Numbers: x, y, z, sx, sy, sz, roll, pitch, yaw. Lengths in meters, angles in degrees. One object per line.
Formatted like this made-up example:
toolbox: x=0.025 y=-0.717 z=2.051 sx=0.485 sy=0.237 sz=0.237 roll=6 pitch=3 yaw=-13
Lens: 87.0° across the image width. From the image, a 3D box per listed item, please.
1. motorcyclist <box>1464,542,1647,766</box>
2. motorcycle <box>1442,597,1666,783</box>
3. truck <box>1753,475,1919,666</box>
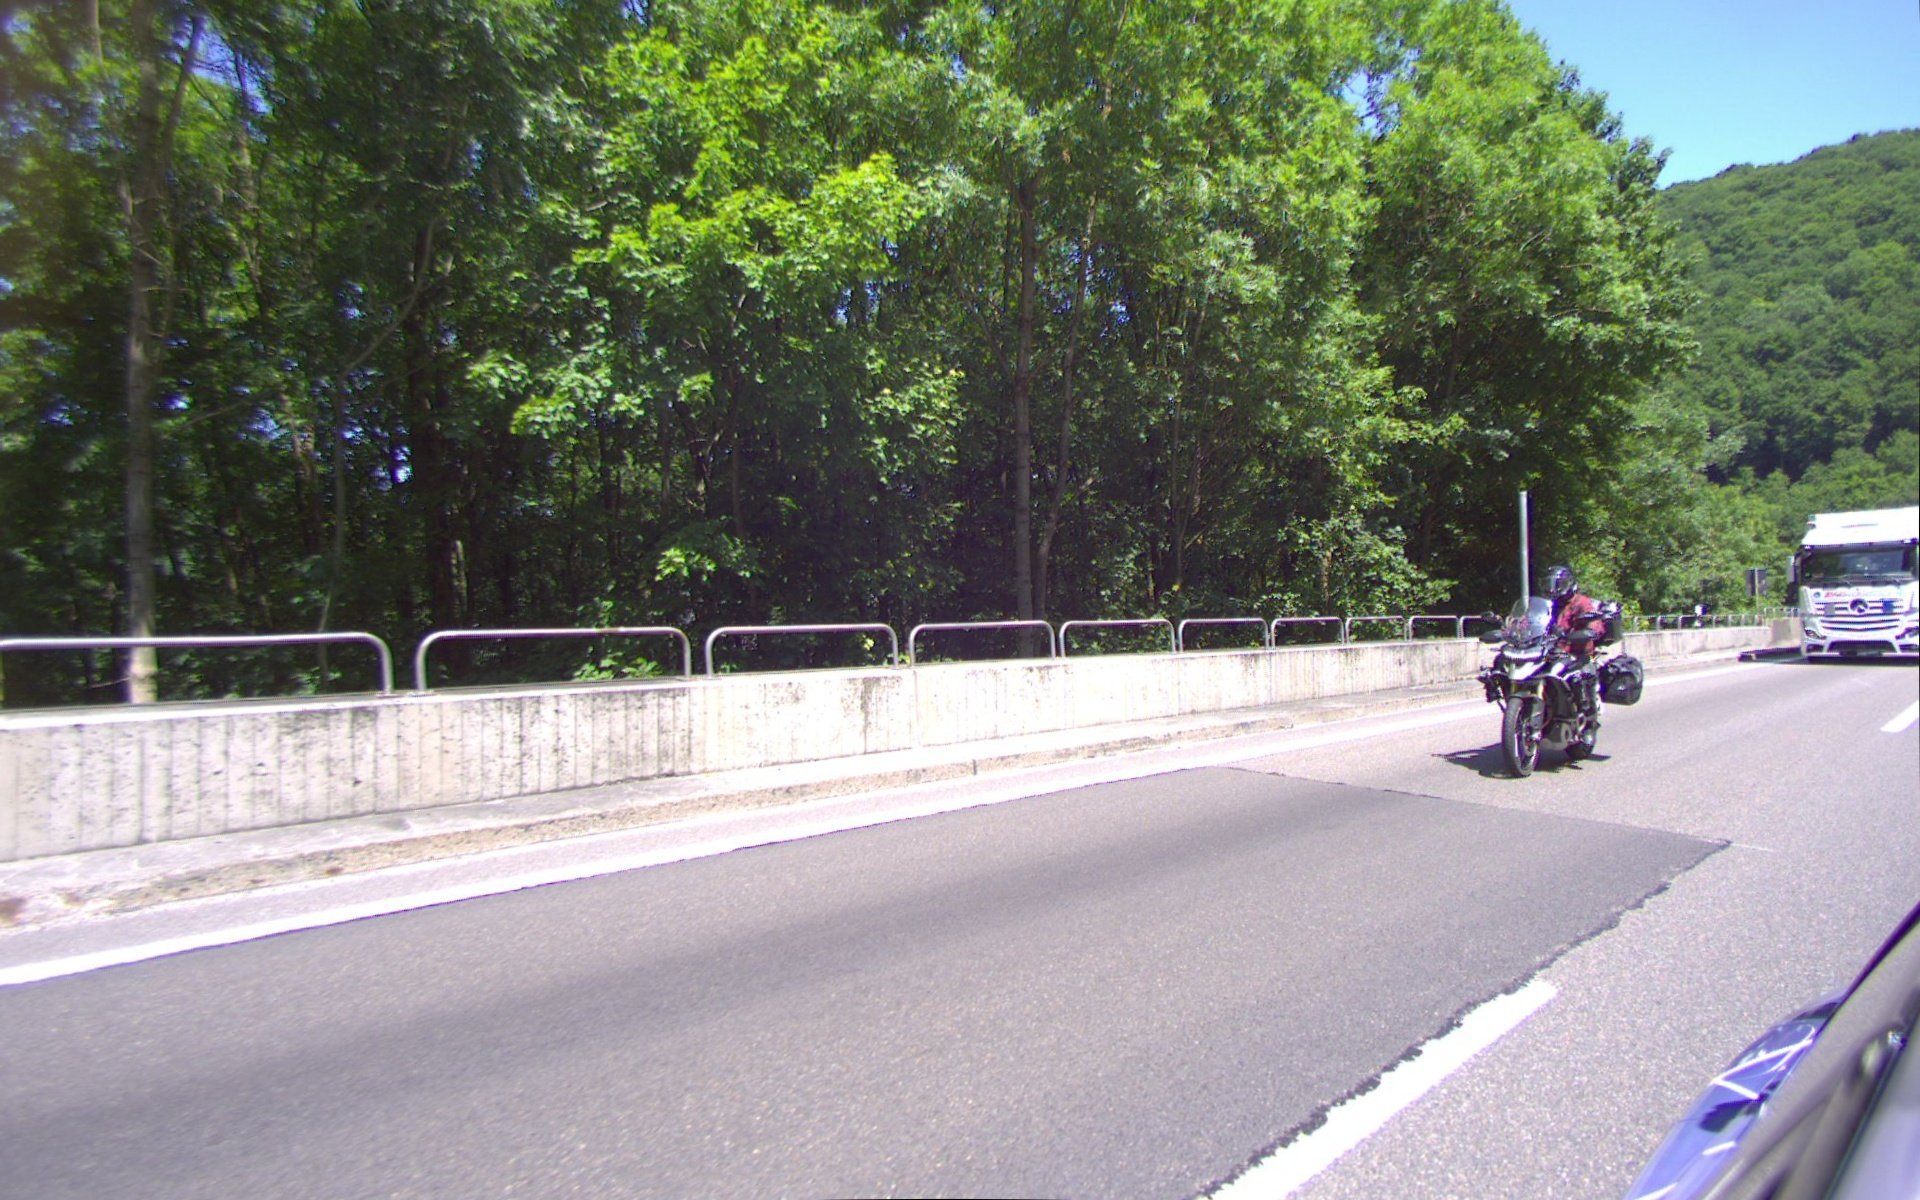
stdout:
motorcyclist: x=5.335 y=0.439 z=9.063 sx=1.315 sy=1.823 sz=1.062 roll=0 pitch=-1 yaw=-42
motorcycle: x=5.374 y=0.693 z=9.065 sx=2.635 sy=1.437 sz=0.974 roll=0 pitch=0 yaw=-42
truck: x=26.314 y=-0.654 z=28.601 sx=16.416 sy=4.186 sz=2.965 roll=0 pitch=-2 yaw=-41
